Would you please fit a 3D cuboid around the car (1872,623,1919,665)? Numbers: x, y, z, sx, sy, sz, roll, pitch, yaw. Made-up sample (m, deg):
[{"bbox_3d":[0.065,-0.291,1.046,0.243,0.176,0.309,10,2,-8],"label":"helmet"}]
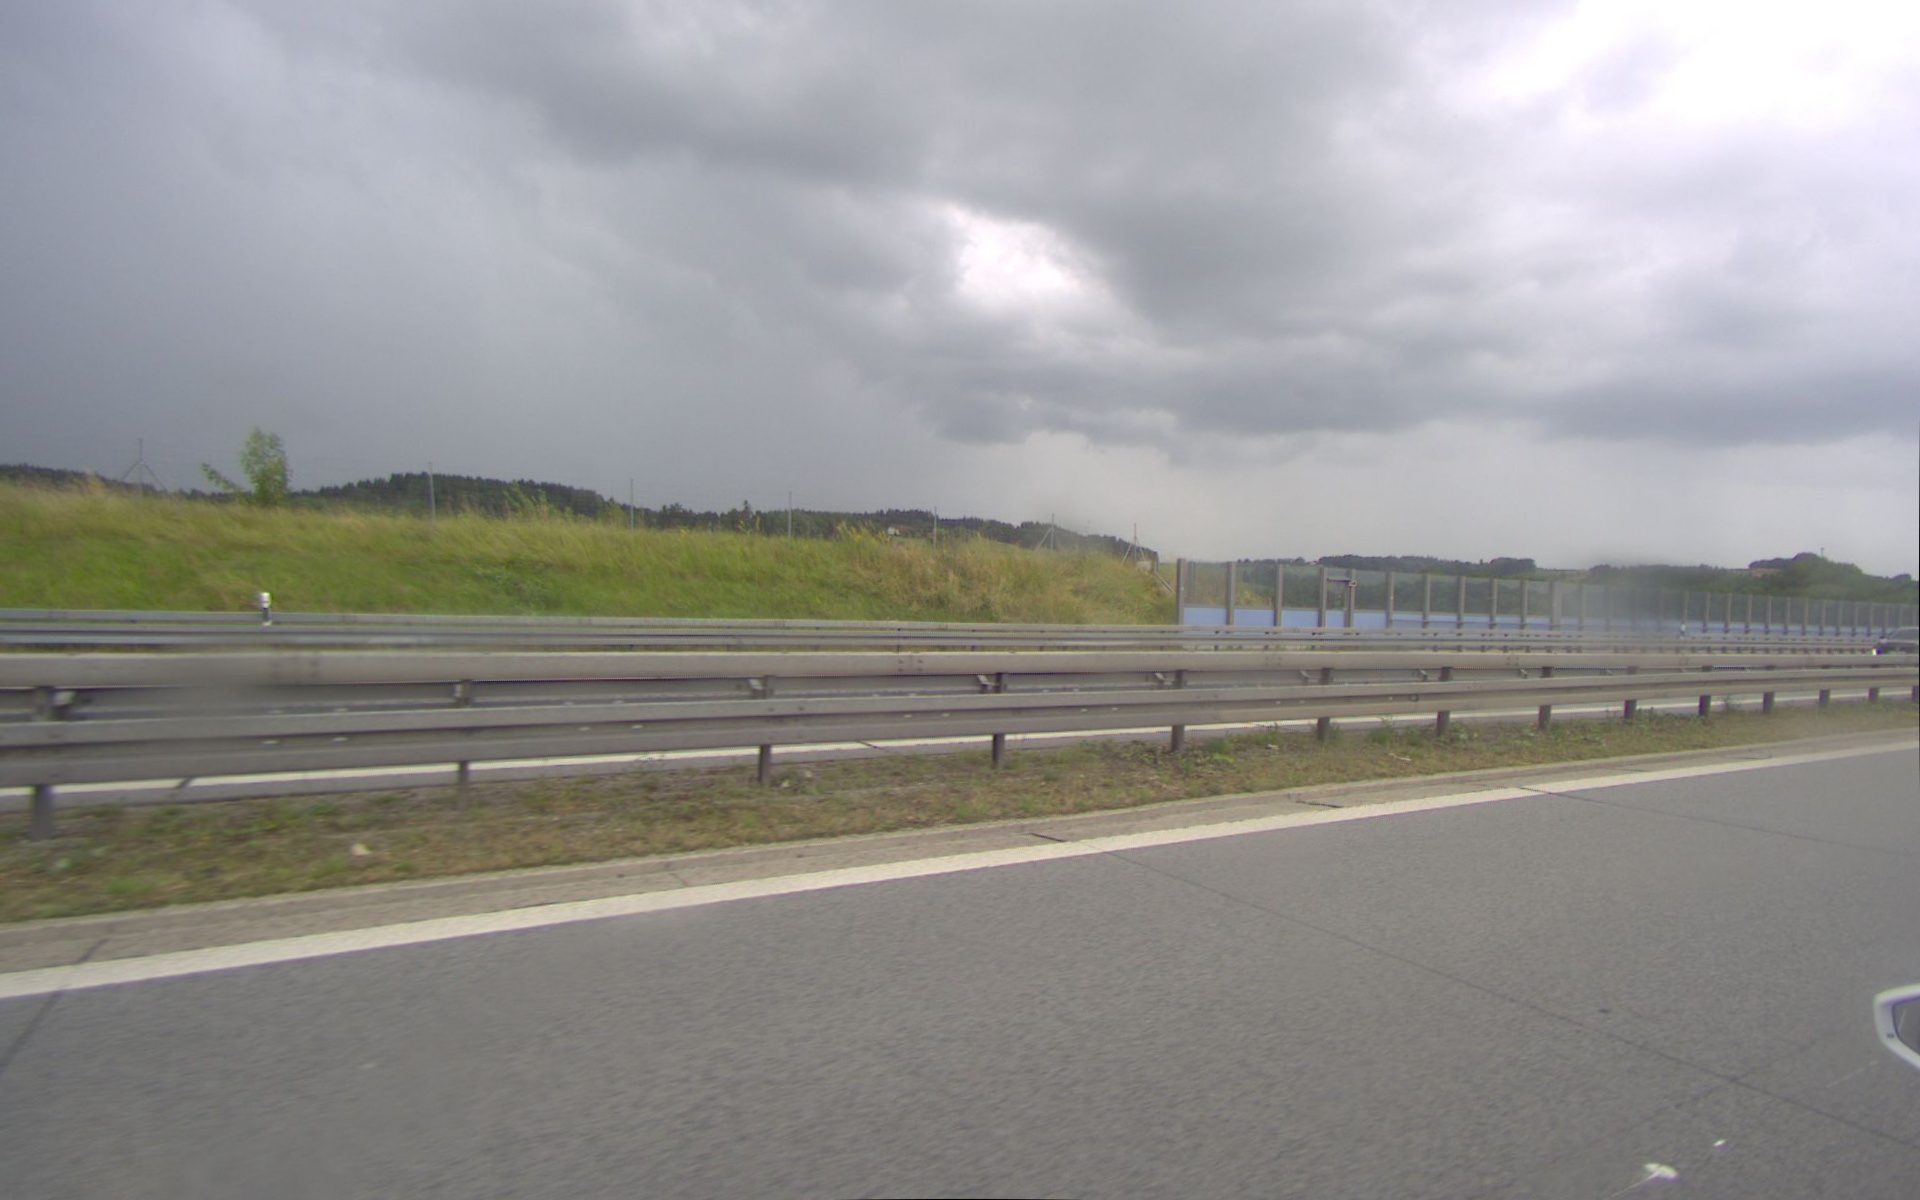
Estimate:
[{"bbox_3d":[35.344,1.611,36.895,3.953,1.428,1.623,2,0,-30],"label":"car"}]
